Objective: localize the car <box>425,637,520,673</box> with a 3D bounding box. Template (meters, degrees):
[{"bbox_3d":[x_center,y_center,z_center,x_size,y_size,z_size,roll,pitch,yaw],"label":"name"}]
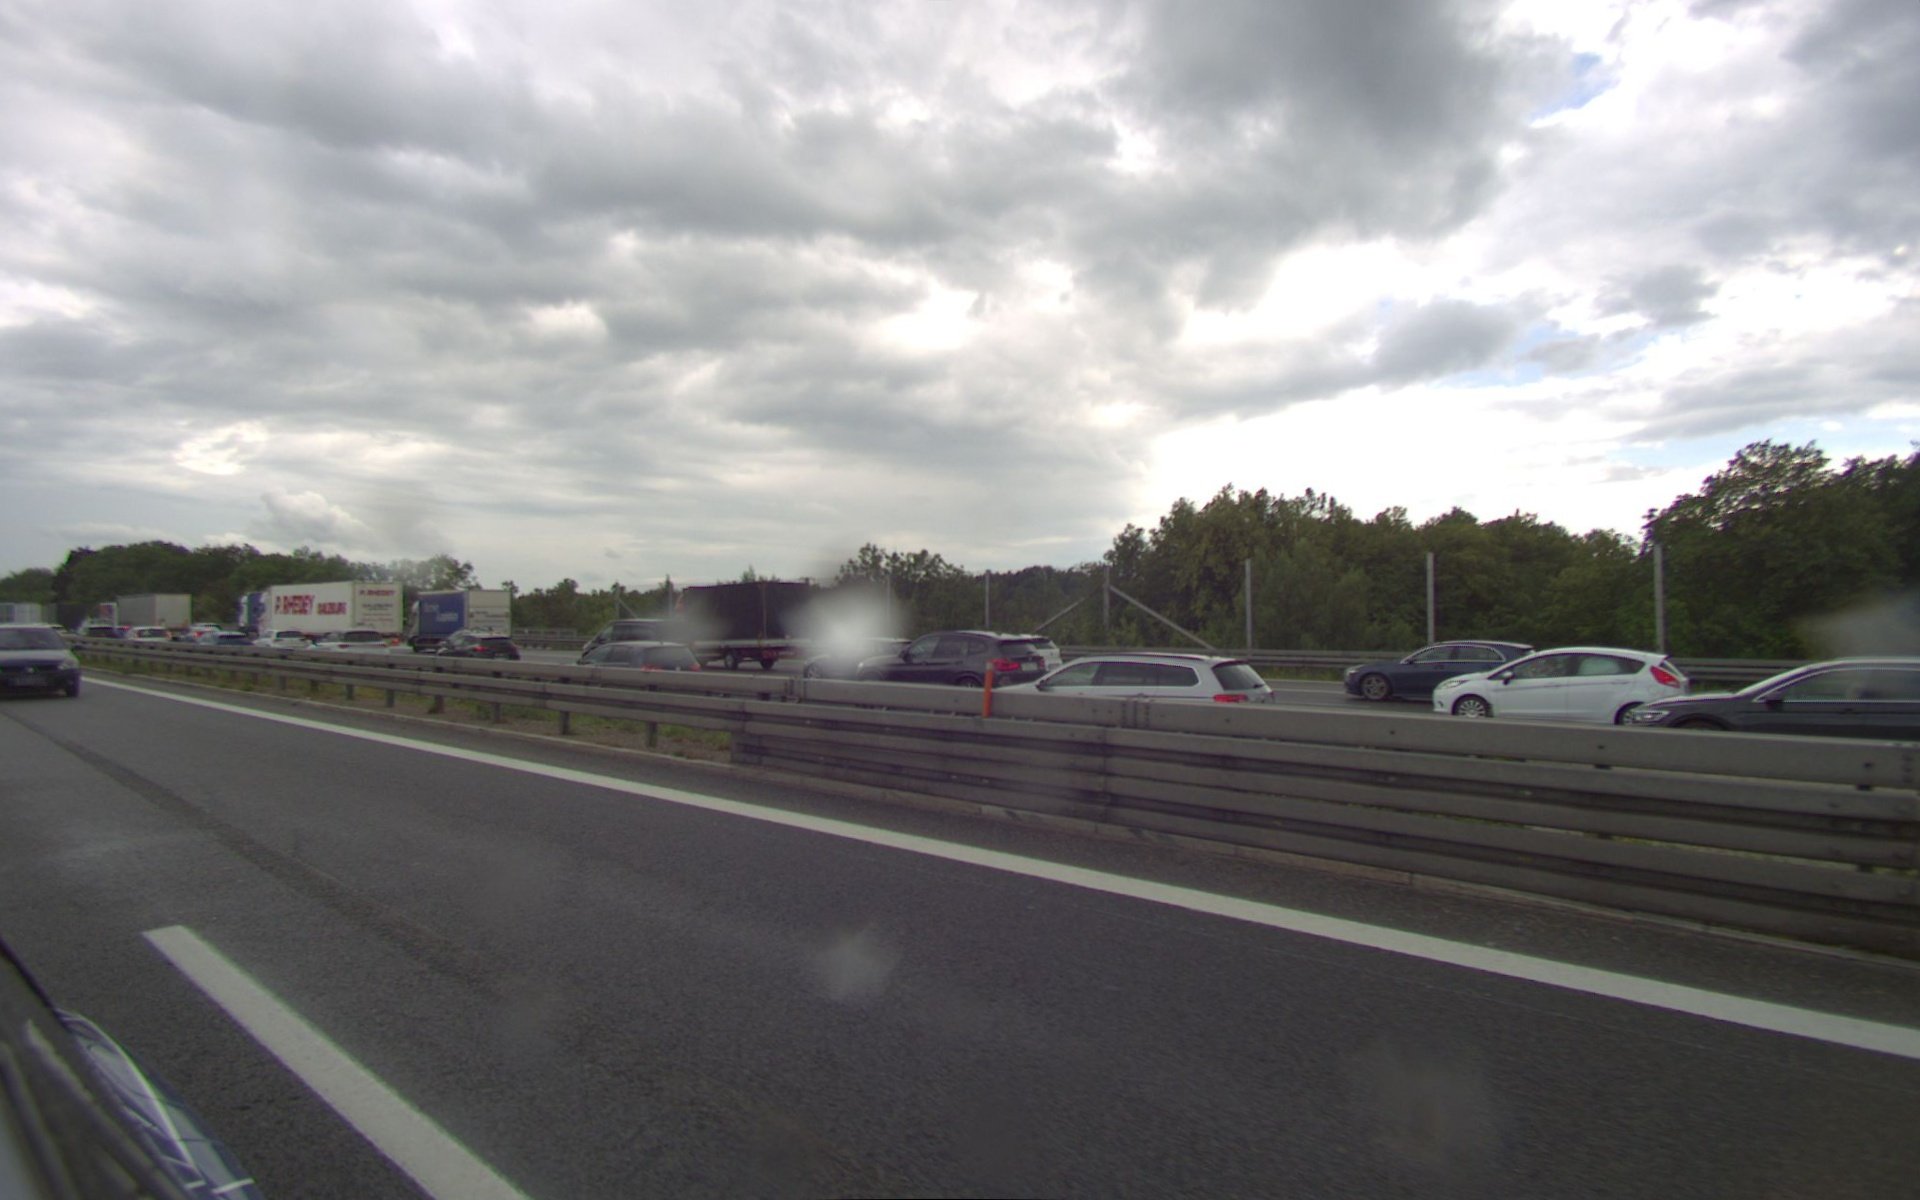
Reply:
[{"bbox_3d":[-18.493,2.057,38.309,4.184,1.299,1.685,-2,-3,40],"label":"car"}]

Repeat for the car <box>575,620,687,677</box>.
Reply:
[{"bbox_3d":[-11.886,1.721,36.408,4.817,1.905,1.567,-2,-3,40],"label":"car"}]

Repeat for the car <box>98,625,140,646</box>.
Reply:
[{"bbox_3d":[-67.010,2.798,80.578,4.695,1.636,1.802,-2,-2,41],"label":"car"}]

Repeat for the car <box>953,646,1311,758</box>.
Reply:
[{"bbox_3d":[2.367,1.374,14.893,4.941,1.350,1.870,-2,-3,40],"label":"car"}]

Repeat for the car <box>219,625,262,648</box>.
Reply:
[{"bbox_3d":[-51.120,2.579,71.863,3.998,1.557,1.628,-2,-3,41],"label":"car"}]

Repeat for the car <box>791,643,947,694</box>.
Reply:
[{"bbox_3d":[-2.603,1.866,28.230,4.599,1.292,1.567,-2,-3,40],"label":"car"}]

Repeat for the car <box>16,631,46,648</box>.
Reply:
[{"bbox_3d":[-95.560,4.020,104.108,5.052,1.713,1.702,-2,-3,41],"label":"car"}]

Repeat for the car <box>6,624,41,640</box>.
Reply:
[{"bbox_3d":[-79.932,2.741,86.389,4.532,1.364,1.702,-2,-3,41],"label":"car"}]

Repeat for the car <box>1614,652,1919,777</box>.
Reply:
[{"bbox_3d":[10.877,1.343,12.432,4.560,1.350,1.870,-2,-3,40],"label":"car"}]

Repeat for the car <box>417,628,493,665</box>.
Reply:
[{"bbox_3d":[-22.755,2.071,45.554,4.103,1.576,1.628,-2,-3,41],"label":"car"}]

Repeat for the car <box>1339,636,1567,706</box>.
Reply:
[{"bbox_3d":[11.068,1.546,22.901,4.338,1.437,1.744,-2,-3,40],"label":"car"}]

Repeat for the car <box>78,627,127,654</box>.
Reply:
[{"bbox_3d":[-55.000,2.583,64.868,4.281,1.631,1.773,-2,-3,41],"label":"car"}]

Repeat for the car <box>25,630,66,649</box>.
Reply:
[{"bbox_3d":[-69.672,2.997,77.090,4.623,1.364,1.702,-2,-3,41],"label":"car"}]

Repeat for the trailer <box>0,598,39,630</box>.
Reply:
[{"bbox_3d":[-125.212,1.949,134.451,11.594,4.092,2.789,-1,-1,41],"label":"trailer"}]

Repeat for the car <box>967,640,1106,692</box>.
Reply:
[{"bbox_3d":[2.249,1.940,30.380,4.000,1.437,1.567,-2,-3,40],"label":"car"}]

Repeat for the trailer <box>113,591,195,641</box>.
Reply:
[{"bbox_3d":[-69.524,1.417,87.124,13.008,3.963,3.210,-1,-1,41],"label":"trailer"}]

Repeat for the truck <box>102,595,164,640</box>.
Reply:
[{"bbox_3d":[-75.173,1.608,91.945,7.569,3.963,3.166,-2,-1,41],"label":"truck"}]

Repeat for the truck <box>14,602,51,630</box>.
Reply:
[{"bbox_3d":[-137.159,2.386,149.575,11.686,4.012,2.692,-2,-2,41],"label":"truck"}]

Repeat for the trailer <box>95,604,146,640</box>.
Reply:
[{"bbox_3d":[-96.729,2.524,116.525,8.845,3.989,3.186,-2,-1,41],"label":"trailer"}]

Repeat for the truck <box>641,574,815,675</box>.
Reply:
[{"bbox_3d":[-9.153,0.995,39.345,7.801,3.564,2.438,-2,-3,40],"label":"truck"}]

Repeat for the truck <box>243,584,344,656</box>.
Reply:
[{"bbox_3d":[-41.510,1.312,62.944,7.731,4.226,3.145,-2,-3,40],"label":"truck"}]

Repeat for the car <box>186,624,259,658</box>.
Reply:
[{"bbox_3d":[-32.799,1.788,44.950,4.727,1.451,1.628,-1,-2,41],"label":"car"}]

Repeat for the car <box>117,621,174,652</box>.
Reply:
[{"bbox_3d":[-44.668,1.993,55.505,3.998,1.631,1.773,-1,-2,41],"label":"car"}]

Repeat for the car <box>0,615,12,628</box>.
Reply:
[{"bbox_3d":[-141.985,3.150,149.808,3.999,1.844,1.972,-1,-2,42],"label":"car"}]

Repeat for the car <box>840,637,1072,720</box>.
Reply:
[{"bbox_3d":[-0.203,1.630,22.188,5.131,1.610,1.862,-2,-3,40],"label":"car"}]

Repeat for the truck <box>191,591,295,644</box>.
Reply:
[{"bbox_3d":[-59.408,1.576,83.514,17.732,4.052,2.621,-2,-3,40],"label":"truck"}]

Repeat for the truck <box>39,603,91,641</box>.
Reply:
[{"bbox_3d":[-84.894,2.112,95.911,8.535,3.425,2.493,-2,-3,41],"label":"truck"}]

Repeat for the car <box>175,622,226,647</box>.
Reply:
[{"bbox_3d":[-48.180,2.172,64.170,4.674,1.514,1.628,-1,-2,41],"label":"car"}]

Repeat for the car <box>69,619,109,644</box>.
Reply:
[{"bbox_3d":[-75.278,2.744,87.450,5.671,2.068,1.802,-2,-3,41],"label":"car"}]

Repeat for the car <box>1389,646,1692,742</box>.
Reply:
[{"bbox_3d":[10.134,1.566,17.883,4.413,1.458,1.604,-2,-3,40],"label":"car"}]

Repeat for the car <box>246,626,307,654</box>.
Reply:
[{"bbox_3d":[-36.530,2.112,54.035,4.541,1.418,1.628,-1,-2,41],"label":"car"}]

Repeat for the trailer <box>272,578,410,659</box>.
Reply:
[{"bbox_3d":[-35.570,1.151,57.872,11.947,4.226,3.154,-2,-3,40],"label":"trailer"}]

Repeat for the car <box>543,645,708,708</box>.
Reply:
[{"bbox_3d":[-7.721,1.694,23.204,4.184,1.299,1.685,-2,-3,40],"label":"car"}]

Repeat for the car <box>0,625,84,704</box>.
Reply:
[{"bbox_3d":[-19.086,1.245,20.312,5.016,1.418,1.757,-2,-2,43],"label":"car"}]

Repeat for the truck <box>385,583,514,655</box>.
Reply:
[{"bbox_3d":[-29.778,1.199,58.756,10.751,3.870,2.868,-2,-3,41],"label":"truck"}]

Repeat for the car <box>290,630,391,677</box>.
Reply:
[{"bbox_3d":[-23.204,1.978,37.864,4.718,1.660,1.853,-2,-3,40],"label":"car"}]
